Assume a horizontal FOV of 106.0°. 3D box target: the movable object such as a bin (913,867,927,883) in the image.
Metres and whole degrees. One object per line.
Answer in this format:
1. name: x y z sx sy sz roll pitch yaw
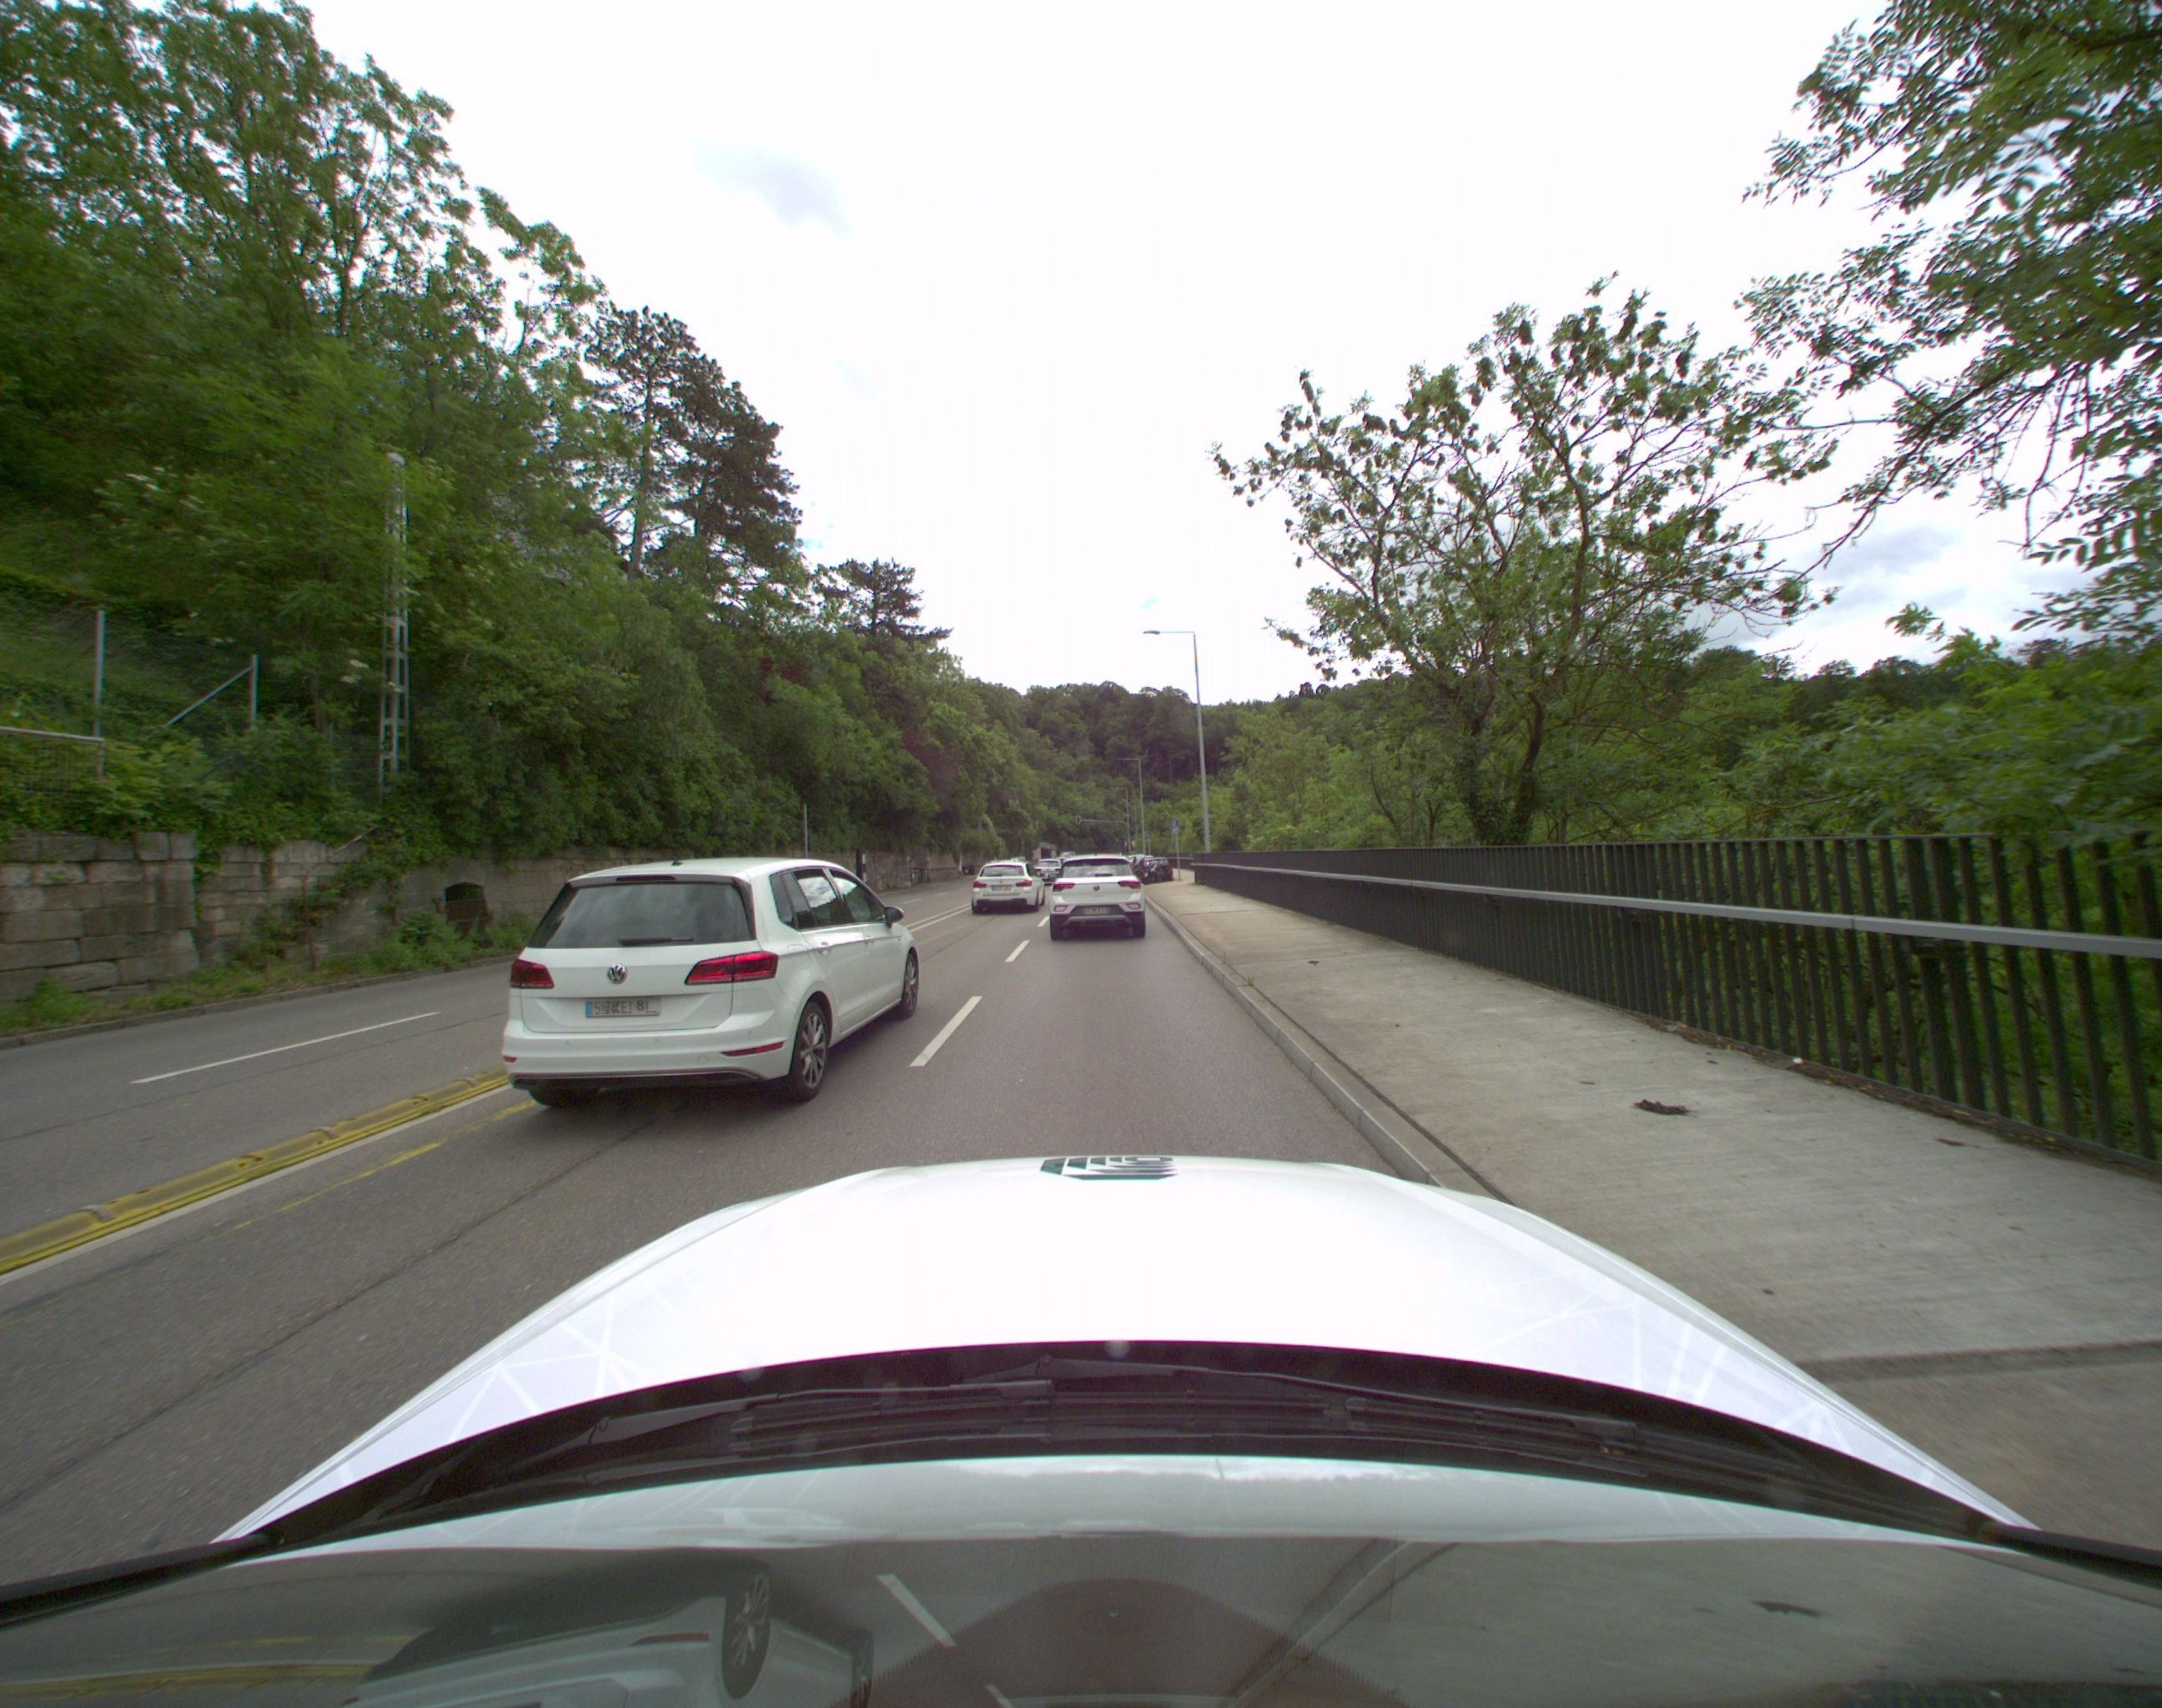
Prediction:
1. movable object such as a bin: -10.745 1.404 54.393 0.770 1.062 0.717 -2 0 -2

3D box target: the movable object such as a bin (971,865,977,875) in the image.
1. movable object such as a bin: -9.905 1.512 75.323 0.478 0.936 0.365 0 -1 -3

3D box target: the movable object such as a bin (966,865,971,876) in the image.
1. movable object such as a bin: -10.411 1.504 75.301 0.476 0.971 0.367 0 -1 -3

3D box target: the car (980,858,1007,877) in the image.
1. car: -7.016 1.086 65.718 1.577 1.461 3.525 -2 0 2

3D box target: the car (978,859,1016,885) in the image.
1. car: -5.137 1.078 50.358 1.850 1.446 4.296 -1 -1 1

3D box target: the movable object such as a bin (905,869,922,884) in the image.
1. movable object such as a bin: -10.902 1.464 53.009 0.914 0.945 0.593 -2 0 -2

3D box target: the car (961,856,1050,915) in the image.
1. car: -2.108 0.843 24.193 1.986 1.557 4.683 -1 0 2

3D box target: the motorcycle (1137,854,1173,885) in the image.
1. motorcycle: 3.640 0.733 39.981 0.762 1.467 2.520 -2 0 30

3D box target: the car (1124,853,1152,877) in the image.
1. car: 4.045 0.801 58.792 1.720 1.568 4.625 -3 -1 1

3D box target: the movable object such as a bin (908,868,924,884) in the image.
1. movable object such as a bin: -10.860 1.446 53.634 0.896 1.034 0.621 -2 0 -3

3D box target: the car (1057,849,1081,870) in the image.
1. car: -1.038 0.520 75.219 1.986 1.864 4.002 -1 0 2

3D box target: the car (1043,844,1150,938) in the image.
1. car: 0.335 0.687 16.279 1.807 1.539 4.009 -3 -1 2

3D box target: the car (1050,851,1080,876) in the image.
1. car: -1.152 0.703 60.970 1.986 1.741 4.002 -1 0 2

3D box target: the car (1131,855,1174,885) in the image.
1. car: 3.809 0.835 44.018 1.817 1.401 4.319 -4 0 0

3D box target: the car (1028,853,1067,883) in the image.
1. car: -1.805 0.780 45.204 1.855 1.595 4.001 0 -1 2

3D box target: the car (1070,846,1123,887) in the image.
1. car: 0.805 0.593 38.920 1.982 1.843 4.161 0 -1 9

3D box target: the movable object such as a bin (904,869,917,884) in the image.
1. movable object such as a bin: -10.962 1.448 52.367 0.672 0.966 0.543 -2 0 -3

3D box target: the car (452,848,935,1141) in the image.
1. car: -2.500 0.770 6.573 1.714 1.554 4.277 -2 0 1

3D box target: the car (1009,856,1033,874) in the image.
1. car: -6.116 1.094 83.616 1.808 1.697 4.473 -1 -1 3

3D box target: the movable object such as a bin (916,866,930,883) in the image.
1. movable object such as a bin: -10.703 1.374 55.132 0.785 1.071 0.708 -2 1 -2

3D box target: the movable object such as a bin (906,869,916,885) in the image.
1. movable object such as a bin: -10.756 1.451 51.640 0.515 0.966 0.474 -2 0 -2
